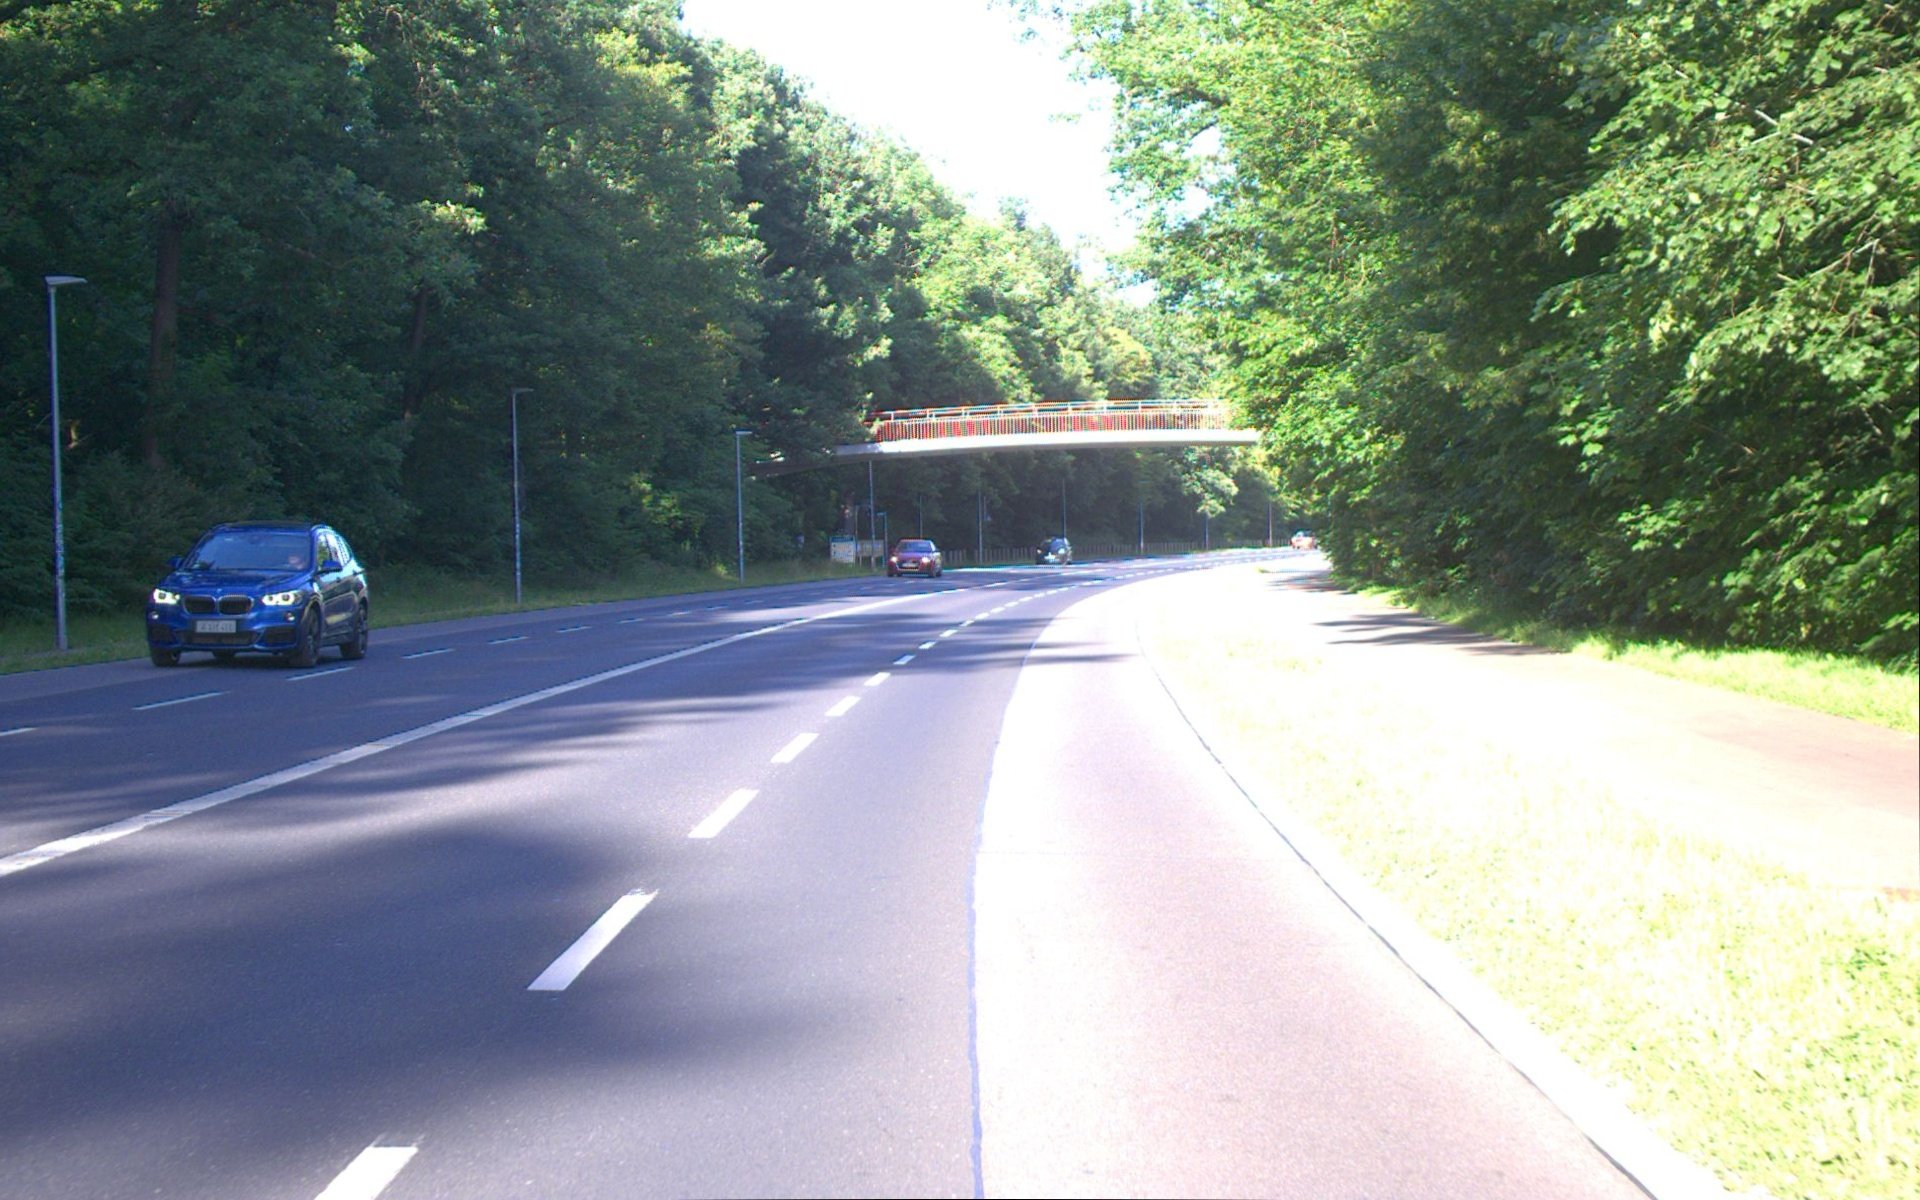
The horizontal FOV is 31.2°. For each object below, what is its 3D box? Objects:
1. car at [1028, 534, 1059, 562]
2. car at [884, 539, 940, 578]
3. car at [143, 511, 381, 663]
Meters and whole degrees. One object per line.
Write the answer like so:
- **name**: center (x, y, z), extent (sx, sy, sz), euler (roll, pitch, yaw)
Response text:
- **car**: center (4.394, -2.716, 180.477), extent (1.495, 1.439, 3.500), euler (0, 1, 3)
- **car**: center (-1.796, -1.585, 129.566), extent (1.710, 1.418, 4.130), euler (0, 1, 5)
- **car**: center (-8.049, -0.183, 40.023), extent (1.807, 1.657, 4.522), euler (0, 1, 0)
